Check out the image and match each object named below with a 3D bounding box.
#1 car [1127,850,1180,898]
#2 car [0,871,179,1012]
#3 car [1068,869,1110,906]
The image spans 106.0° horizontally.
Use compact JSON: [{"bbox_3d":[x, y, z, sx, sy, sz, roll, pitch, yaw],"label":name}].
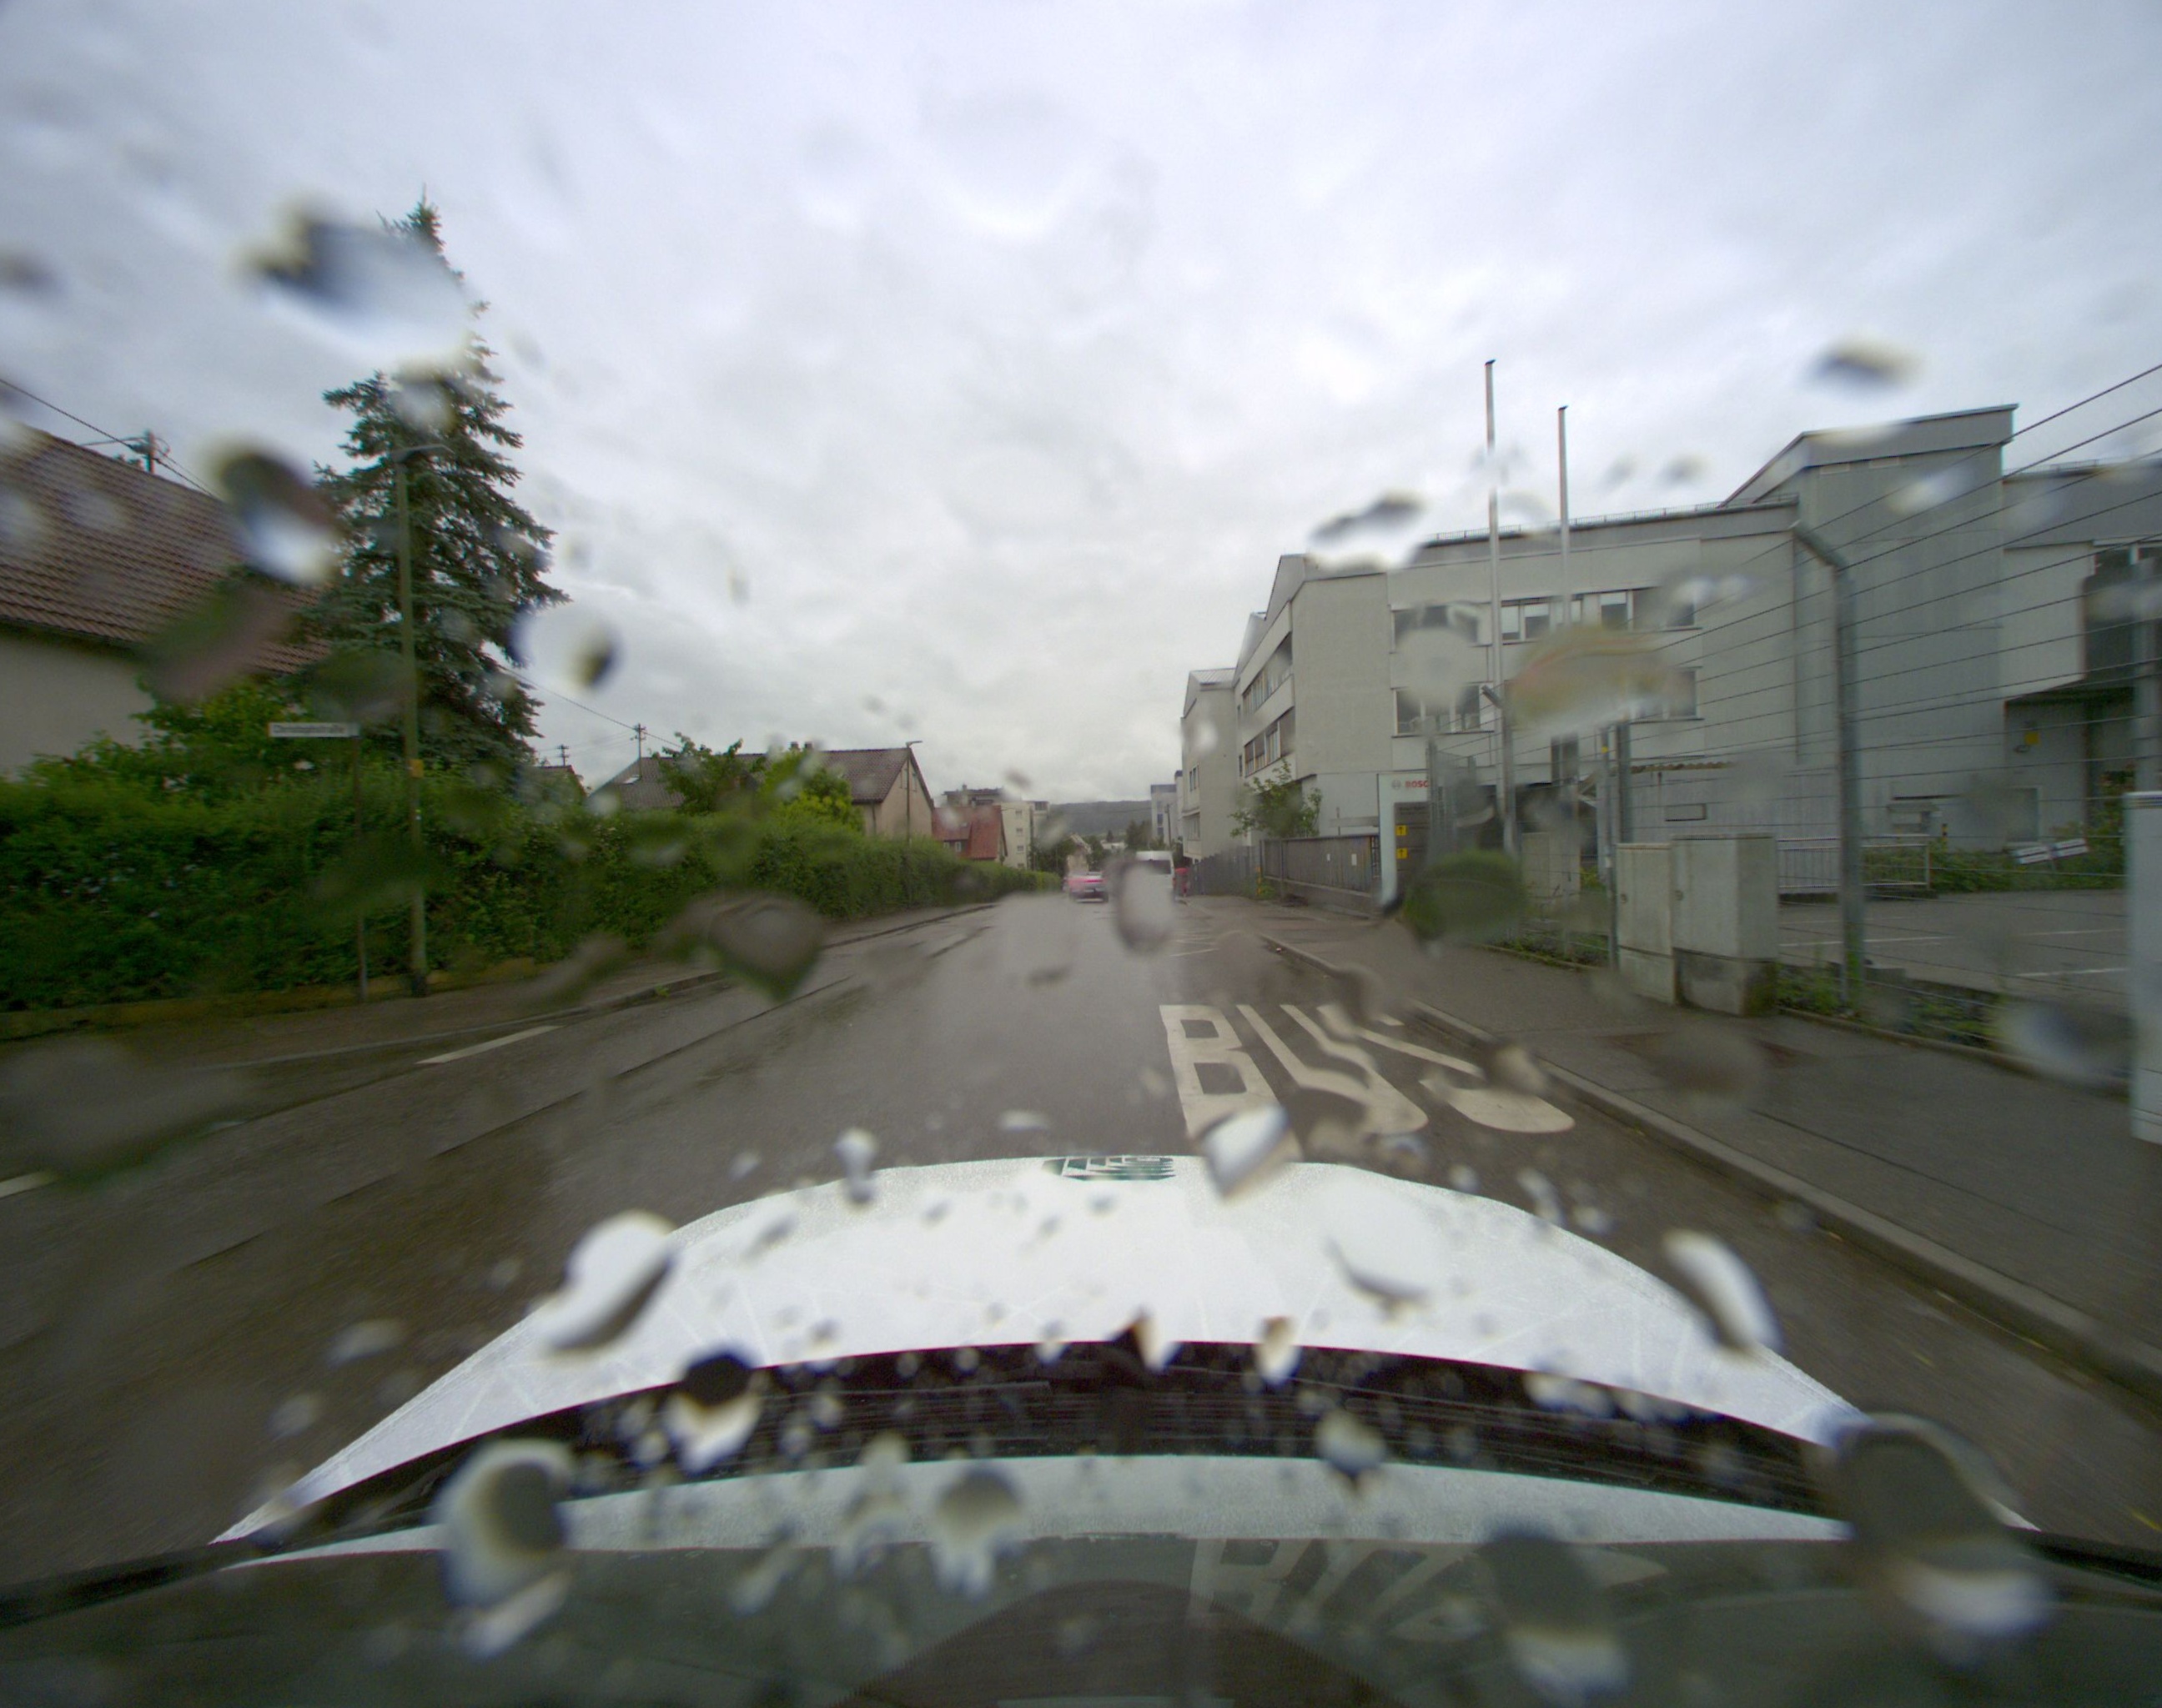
[{"bbox_3d":[3.315,0.936,38.128,1.988,2.014,3.998,-3,-2,-1],"label":"car"},{"bbox_3d":[-13.177,1.084,8.994,1.787,1.508,4.003,-2,2,2],"label":"car"},{"bbox_3d":[0.399,1.650,41.722,1.987,1.502,4.670,-2,2,0],"label":"car"}]
